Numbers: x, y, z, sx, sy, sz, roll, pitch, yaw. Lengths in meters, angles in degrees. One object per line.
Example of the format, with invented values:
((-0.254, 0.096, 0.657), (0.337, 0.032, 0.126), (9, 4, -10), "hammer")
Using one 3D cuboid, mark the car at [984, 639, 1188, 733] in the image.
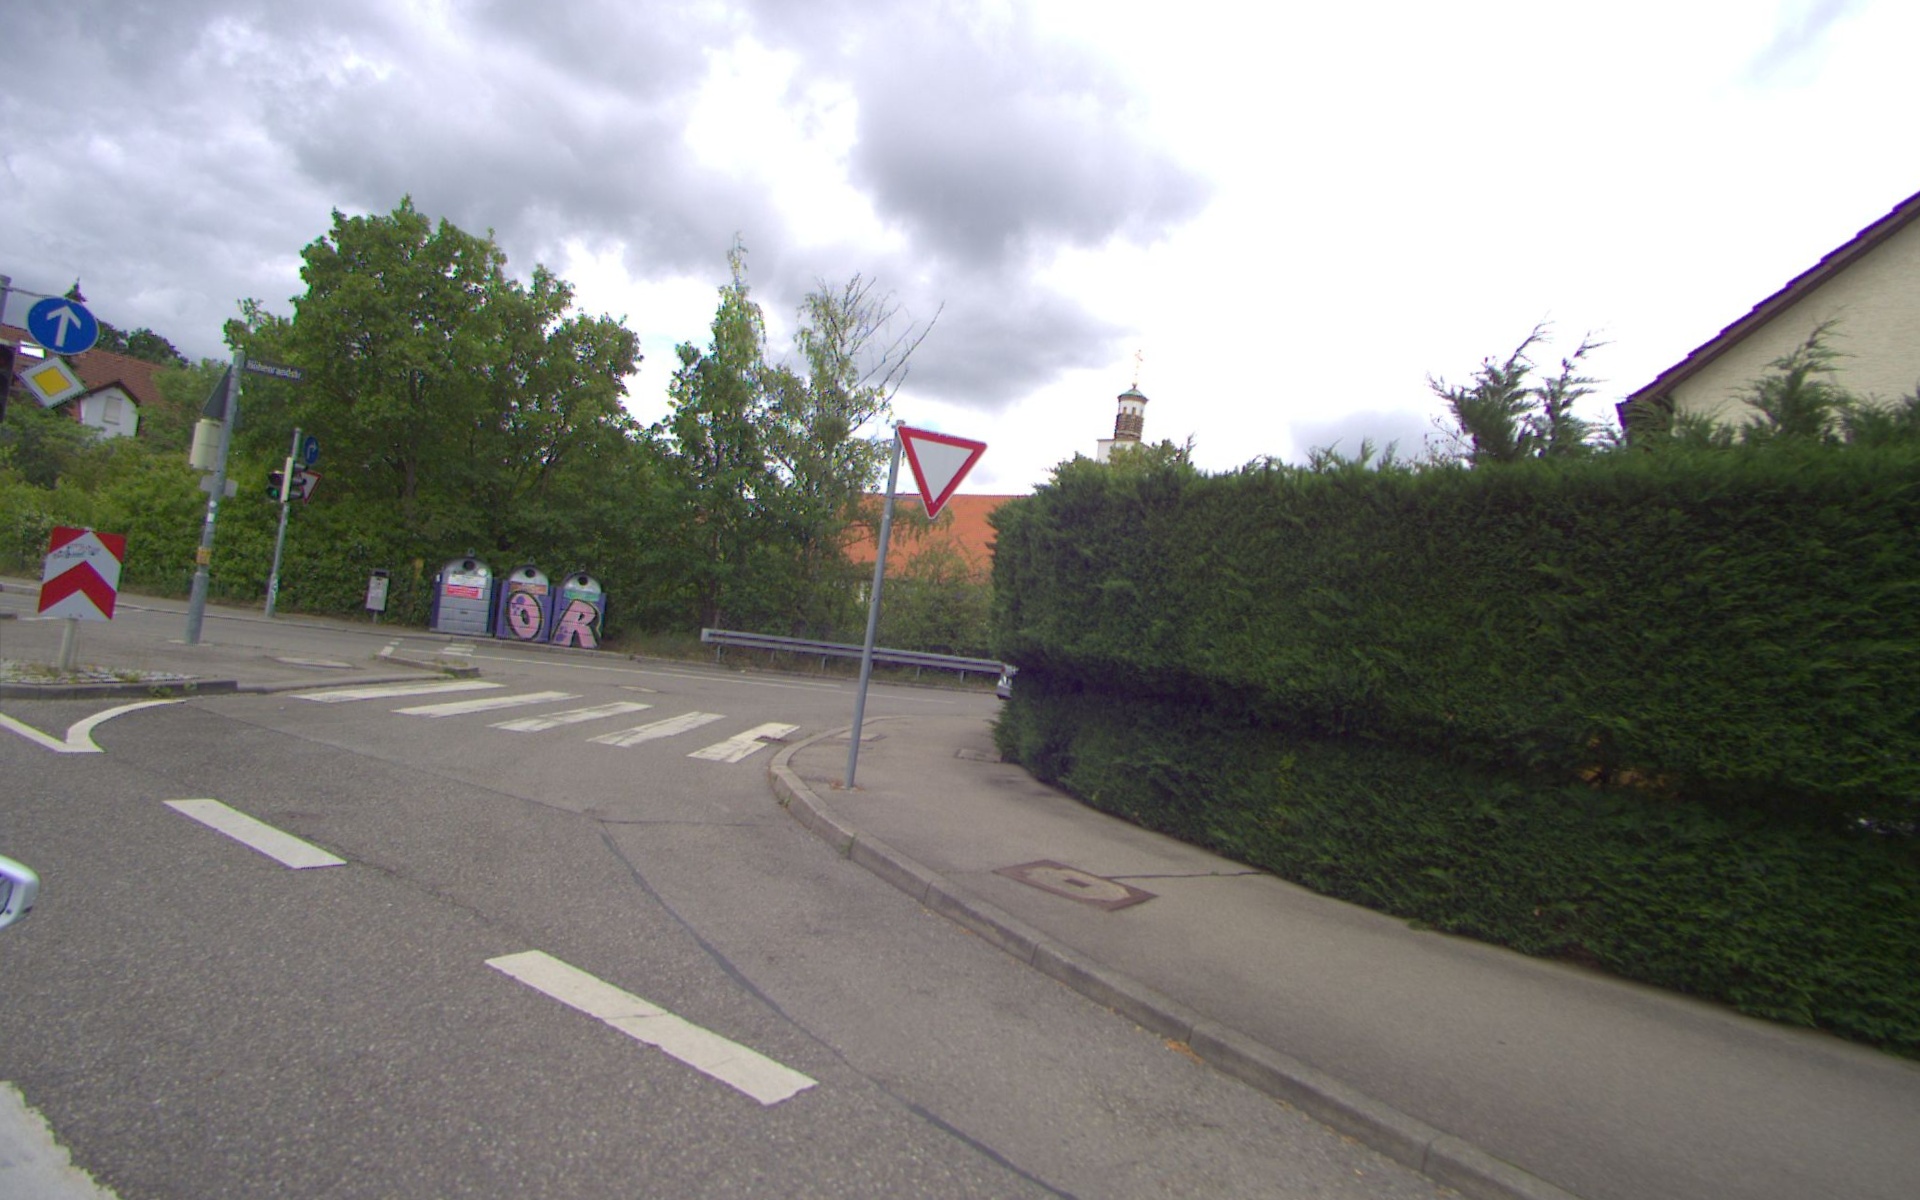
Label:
((2.665, 1.824, 21.250), (3.877, 1.461, 1.702), (8, -1, -27), "car")
